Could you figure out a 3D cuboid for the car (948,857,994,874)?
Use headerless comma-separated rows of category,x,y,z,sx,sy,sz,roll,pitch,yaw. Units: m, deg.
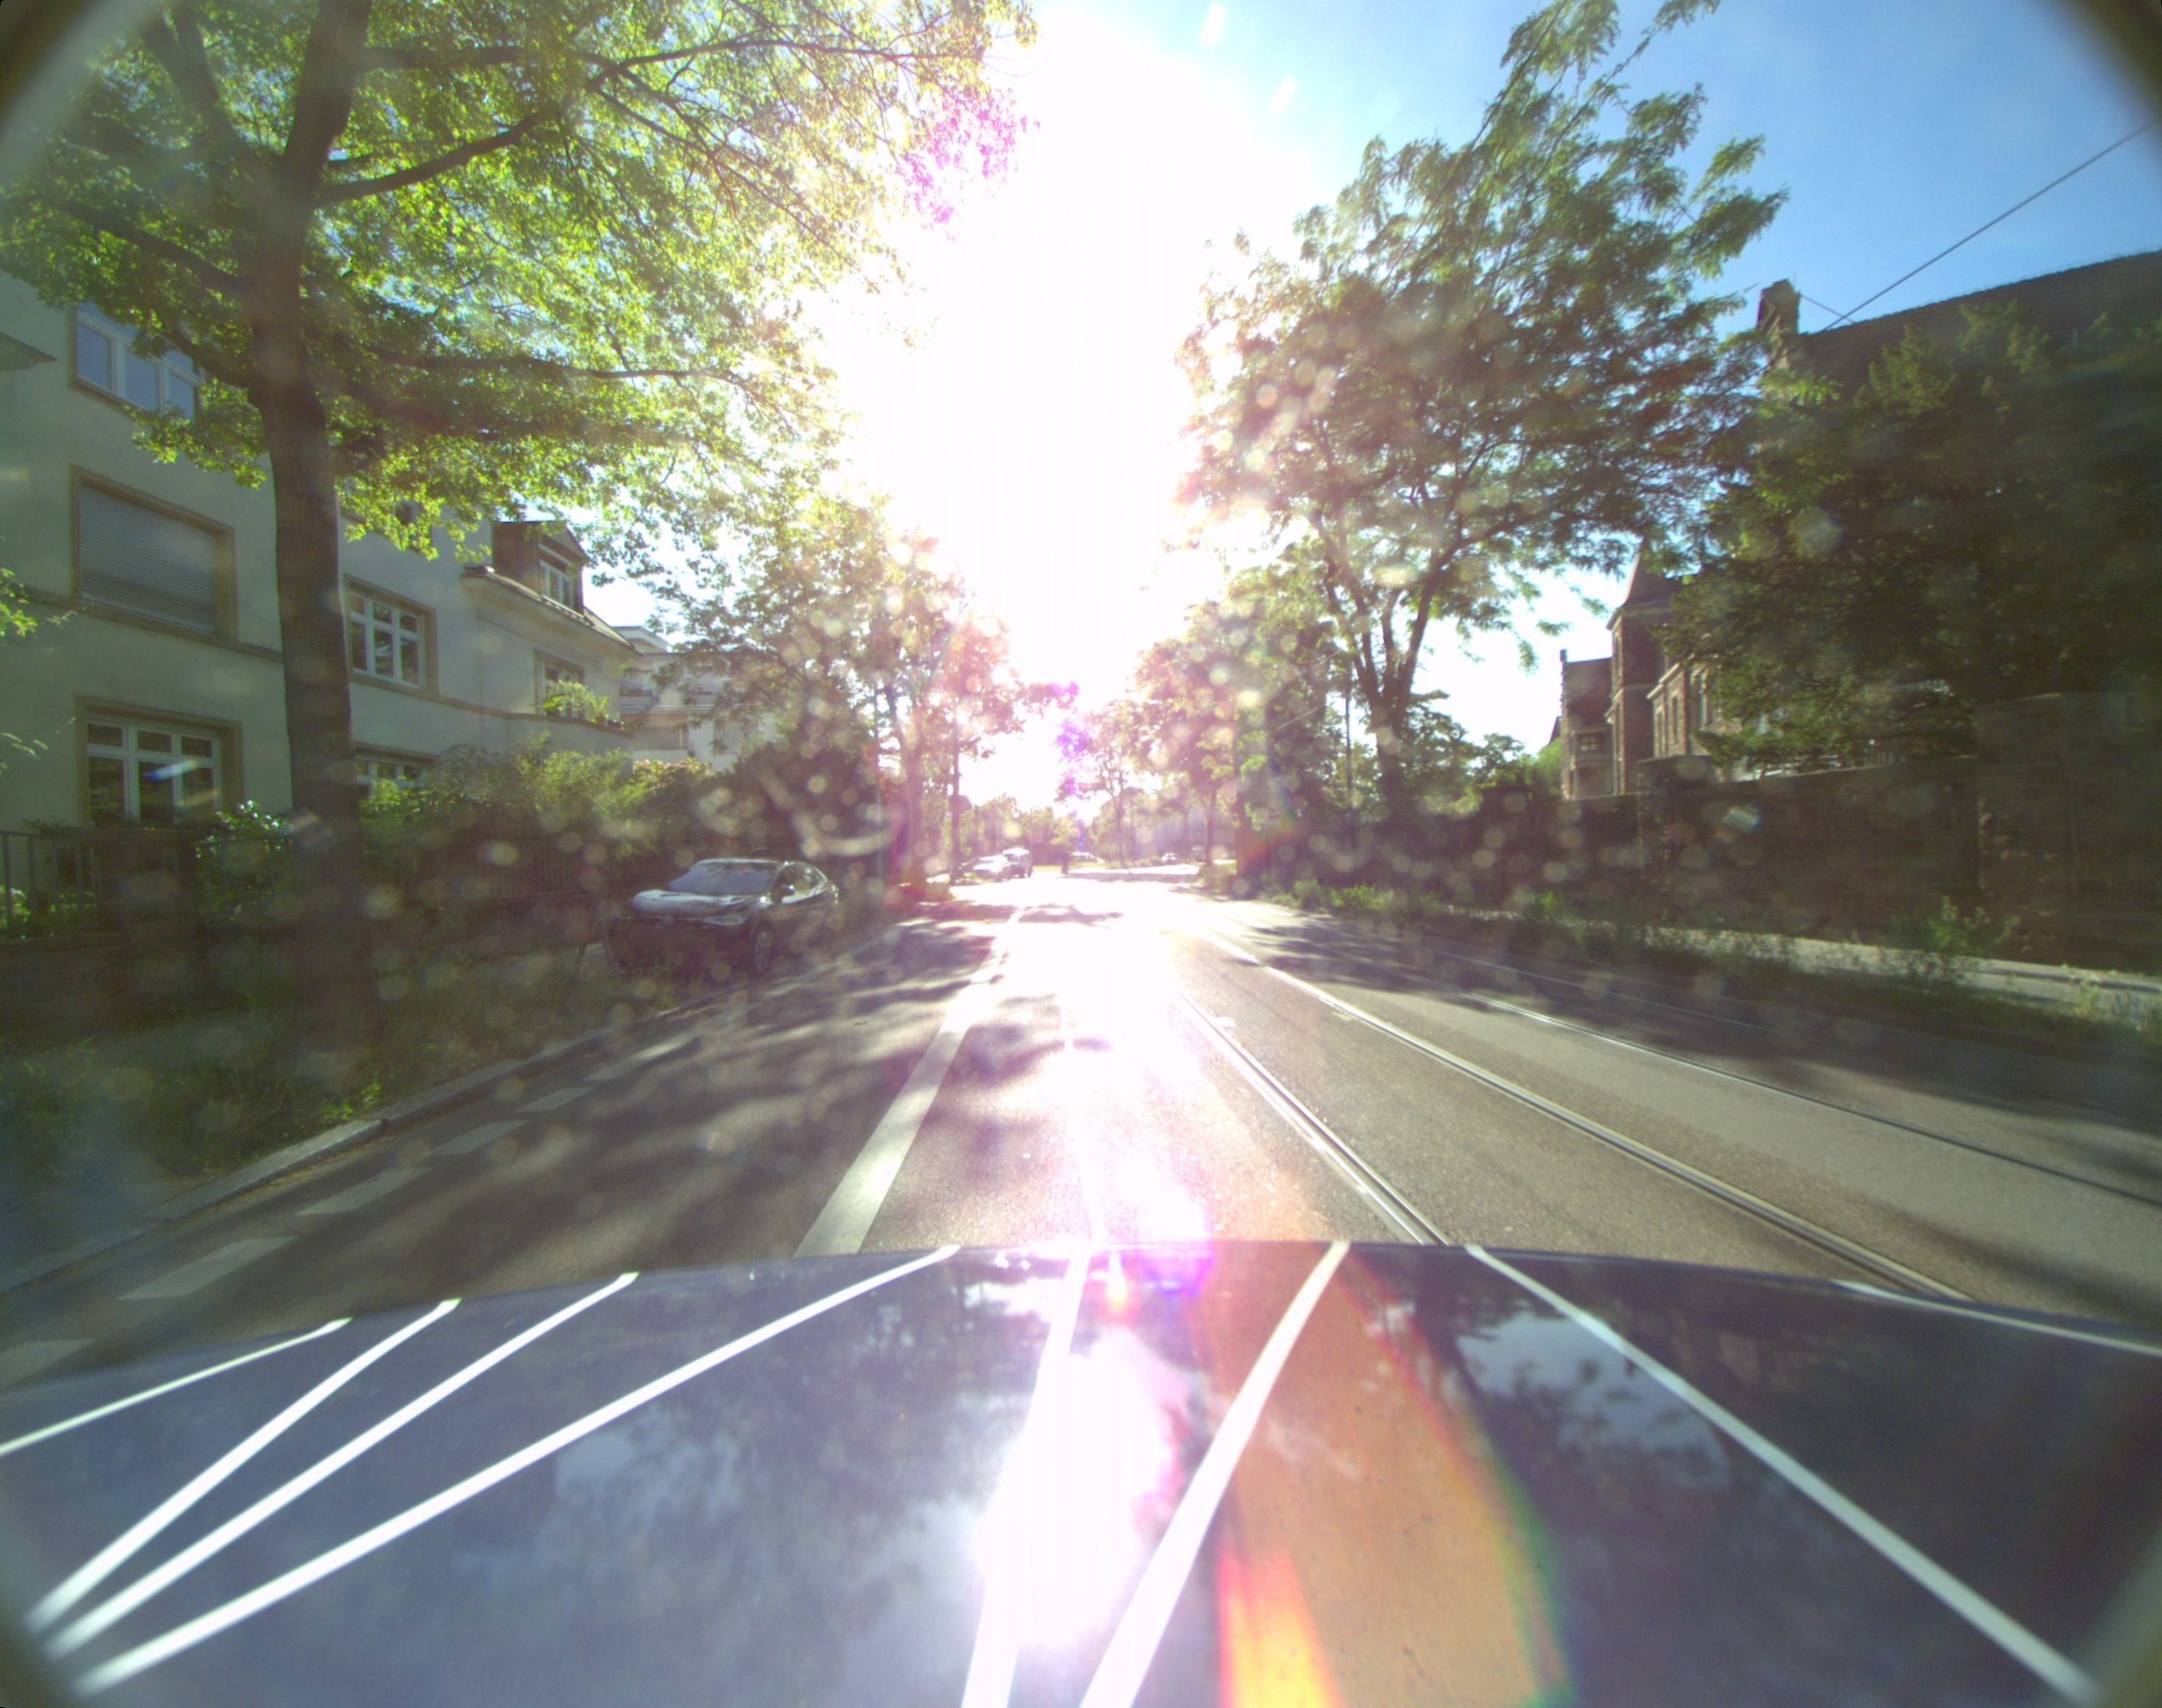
car,-10.045,1.033,69.546,3.998,1.433,1.813,-2,0,-3

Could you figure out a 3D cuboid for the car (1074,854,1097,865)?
car,0.747,0.896,128.797,3.908,1.683,1.905,-1,1,-1

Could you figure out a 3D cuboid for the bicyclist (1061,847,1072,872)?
bicyclist,-0.945,0.363,50.370,0.644,1.632,0.665,-2,1,2

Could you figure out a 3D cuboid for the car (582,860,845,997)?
car,-5.199,0.945,11.515,1.919,1.590,4.258,2,0,-1

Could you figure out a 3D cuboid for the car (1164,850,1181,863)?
car,11.910,0.300,98.729,1.997,1.539,4.002,-2,0,8

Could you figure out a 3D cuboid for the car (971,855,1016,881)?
car,-5.167,0.786,45.341,1.901,1.402,4.260,-1,0,4

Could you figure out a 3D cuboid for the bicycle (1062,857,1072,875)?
bicycle,-0.913,0.780,50.428,0.588,1.105,1.855,-2,0,1

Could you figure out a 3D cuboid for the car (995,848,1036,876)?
car,-4.405,0.496,51.697,1.900,1.775,4.670,-1,0,6
